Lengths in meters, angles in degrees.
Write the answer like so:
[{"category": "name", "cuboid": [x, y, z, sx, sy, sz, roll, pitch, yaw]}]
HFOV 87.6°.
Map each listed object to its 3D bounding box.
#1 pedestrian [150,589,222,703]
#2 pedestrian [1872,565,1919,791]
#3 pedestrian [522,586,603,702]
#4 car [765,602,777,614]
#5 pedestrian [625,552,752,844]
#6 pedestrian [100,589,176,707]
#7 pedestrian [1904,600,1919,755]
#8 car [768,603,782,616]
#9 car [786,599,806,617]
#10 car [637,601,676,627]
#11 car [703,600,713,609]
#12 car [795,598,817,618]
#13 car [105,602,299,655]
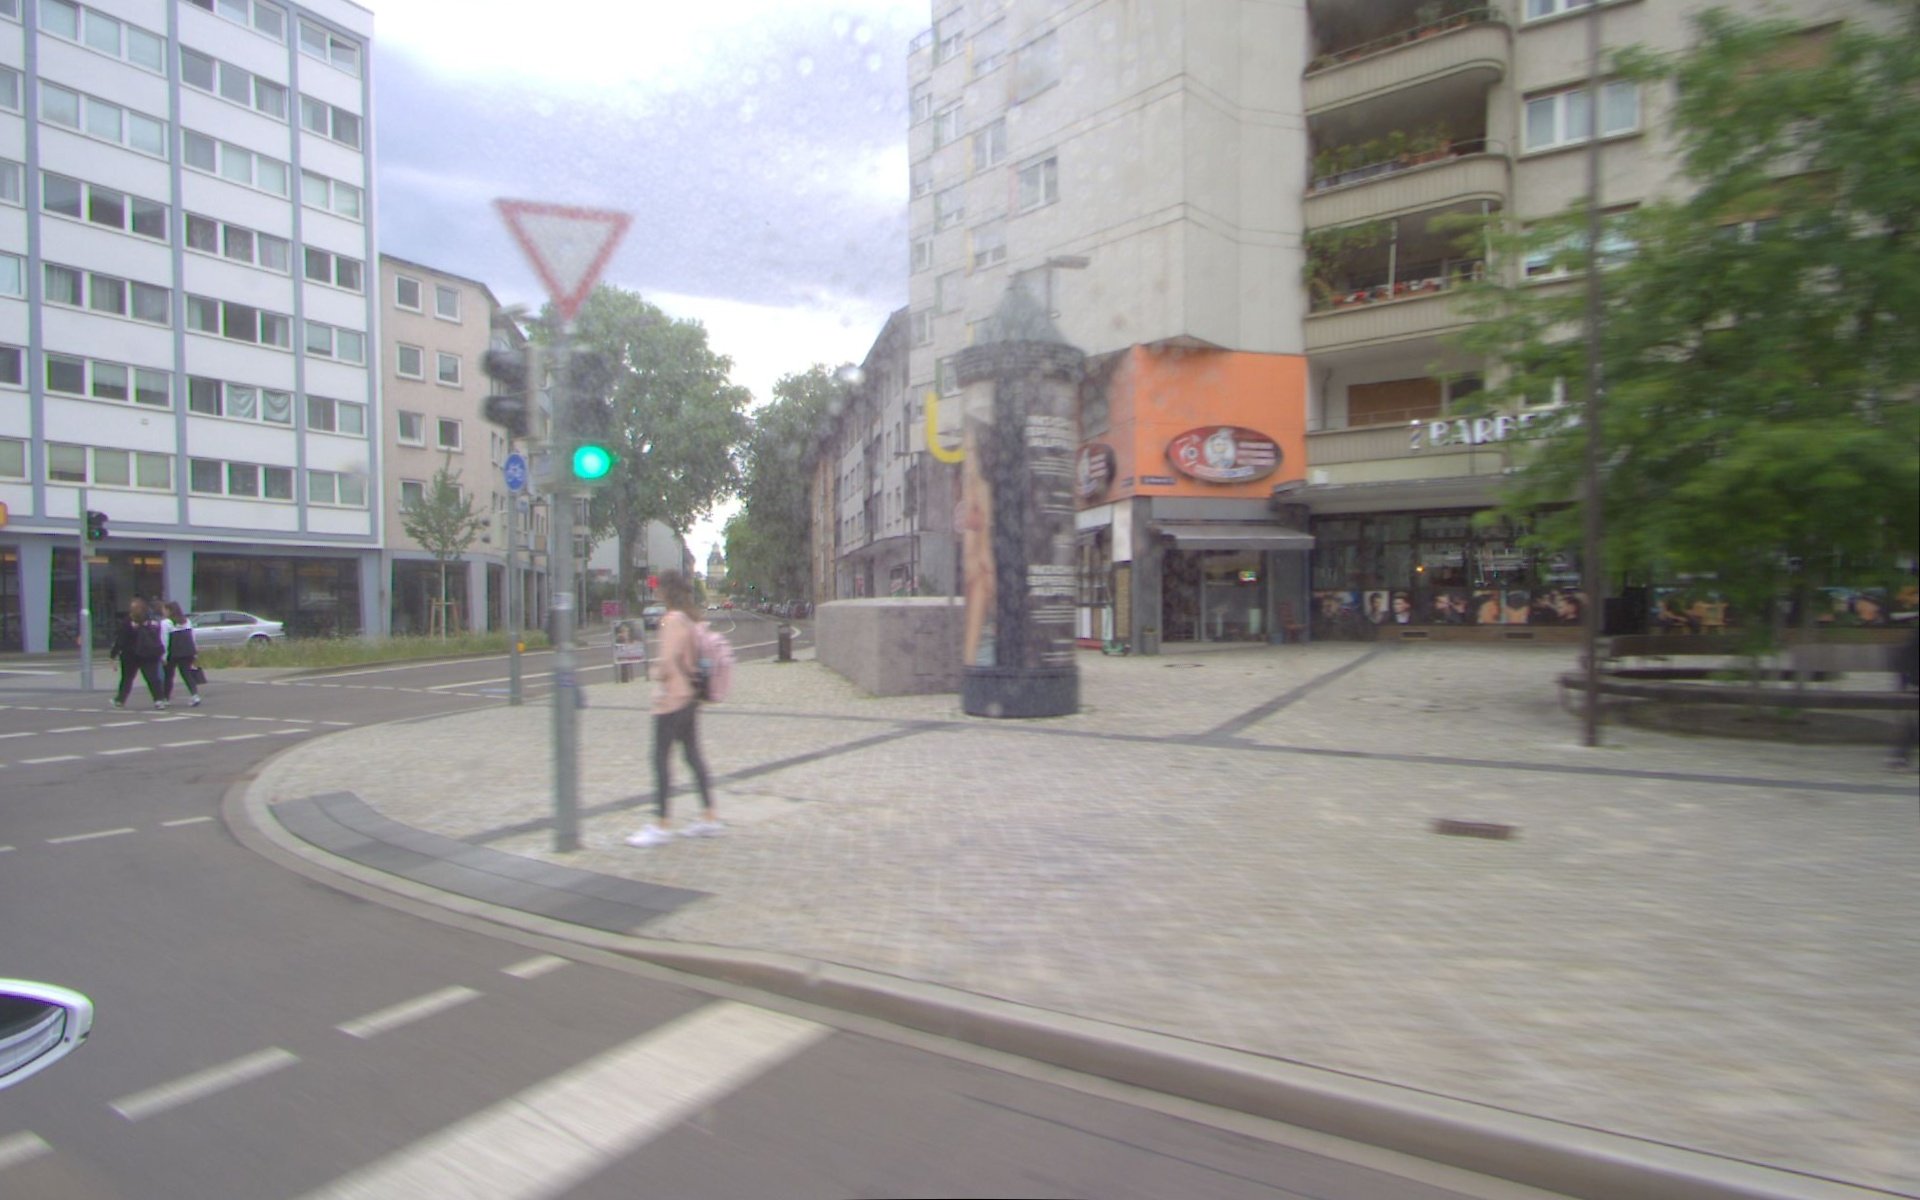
[{"category": "pedestrian", "cuboid": [-12.488, 0.730, 16.155, 0.766, 1.784, 0.621, 0, 0, 23]}, {"category": "pedestrian", "cuboid": [7.668, 0.578, 7.671, 0.856, 1.707, 0.624, -1, 2, 27]}, {"category": "pedestrian", "cuboid": [-6.765, 0.715, 17.035, 1.139, 1.888, 0.799, 0, 2, 41]}, {"category": "car", "cuboid": [-30.185, 1.285, 159.608, 1.835, 1.798, 3.979, 1, 0, -12]}, {"category": "pedestrian", "cuboid": [-1.747, 0.604, 6.466, 0.592, 1.784, 0.523, 0, 0, 23]}, {"category": "pedestrian", "cuboid": [-12.773, 0.738, 15.565, 0.766, 1.784, 0.621, 0, 0, 23]}, {"category": "pedestrian", "cuboid": [8.685, 0.667, 8.580, 0.723, 1.315, 1.040, 0, 2, 36]}, {"category": "car", "cuboid": [-26.695, 1.394, 144.416, 1.835, 1.798, 3.979, 1, 0, -12]}, {"category": "car", "cuboid": [-16.718, 0.796, 101.824, 1.835, 1.798, 3.979, 1, 0, -12]}, {"category": "car", "cuboid": [-18.084, 0.804, 59.768, 1.716, 1.501, 4.562, -1, 0, -10]}, {"category": "car", "cuboid": [-53.902, 0.937, 214.361, 1.835, 1.798, 3.979, 1, 0, -12]}, {"category": "car", "cuboid": [-14.520, 0.730, 94.541, 1.835, 1.798, 3.979, 1, 0, -12]}, {"category": "car", "cuboid": [-23.726, 0.851, 31.541, 1.722, 1.501, 4.547, -1, 0, 28]}]
